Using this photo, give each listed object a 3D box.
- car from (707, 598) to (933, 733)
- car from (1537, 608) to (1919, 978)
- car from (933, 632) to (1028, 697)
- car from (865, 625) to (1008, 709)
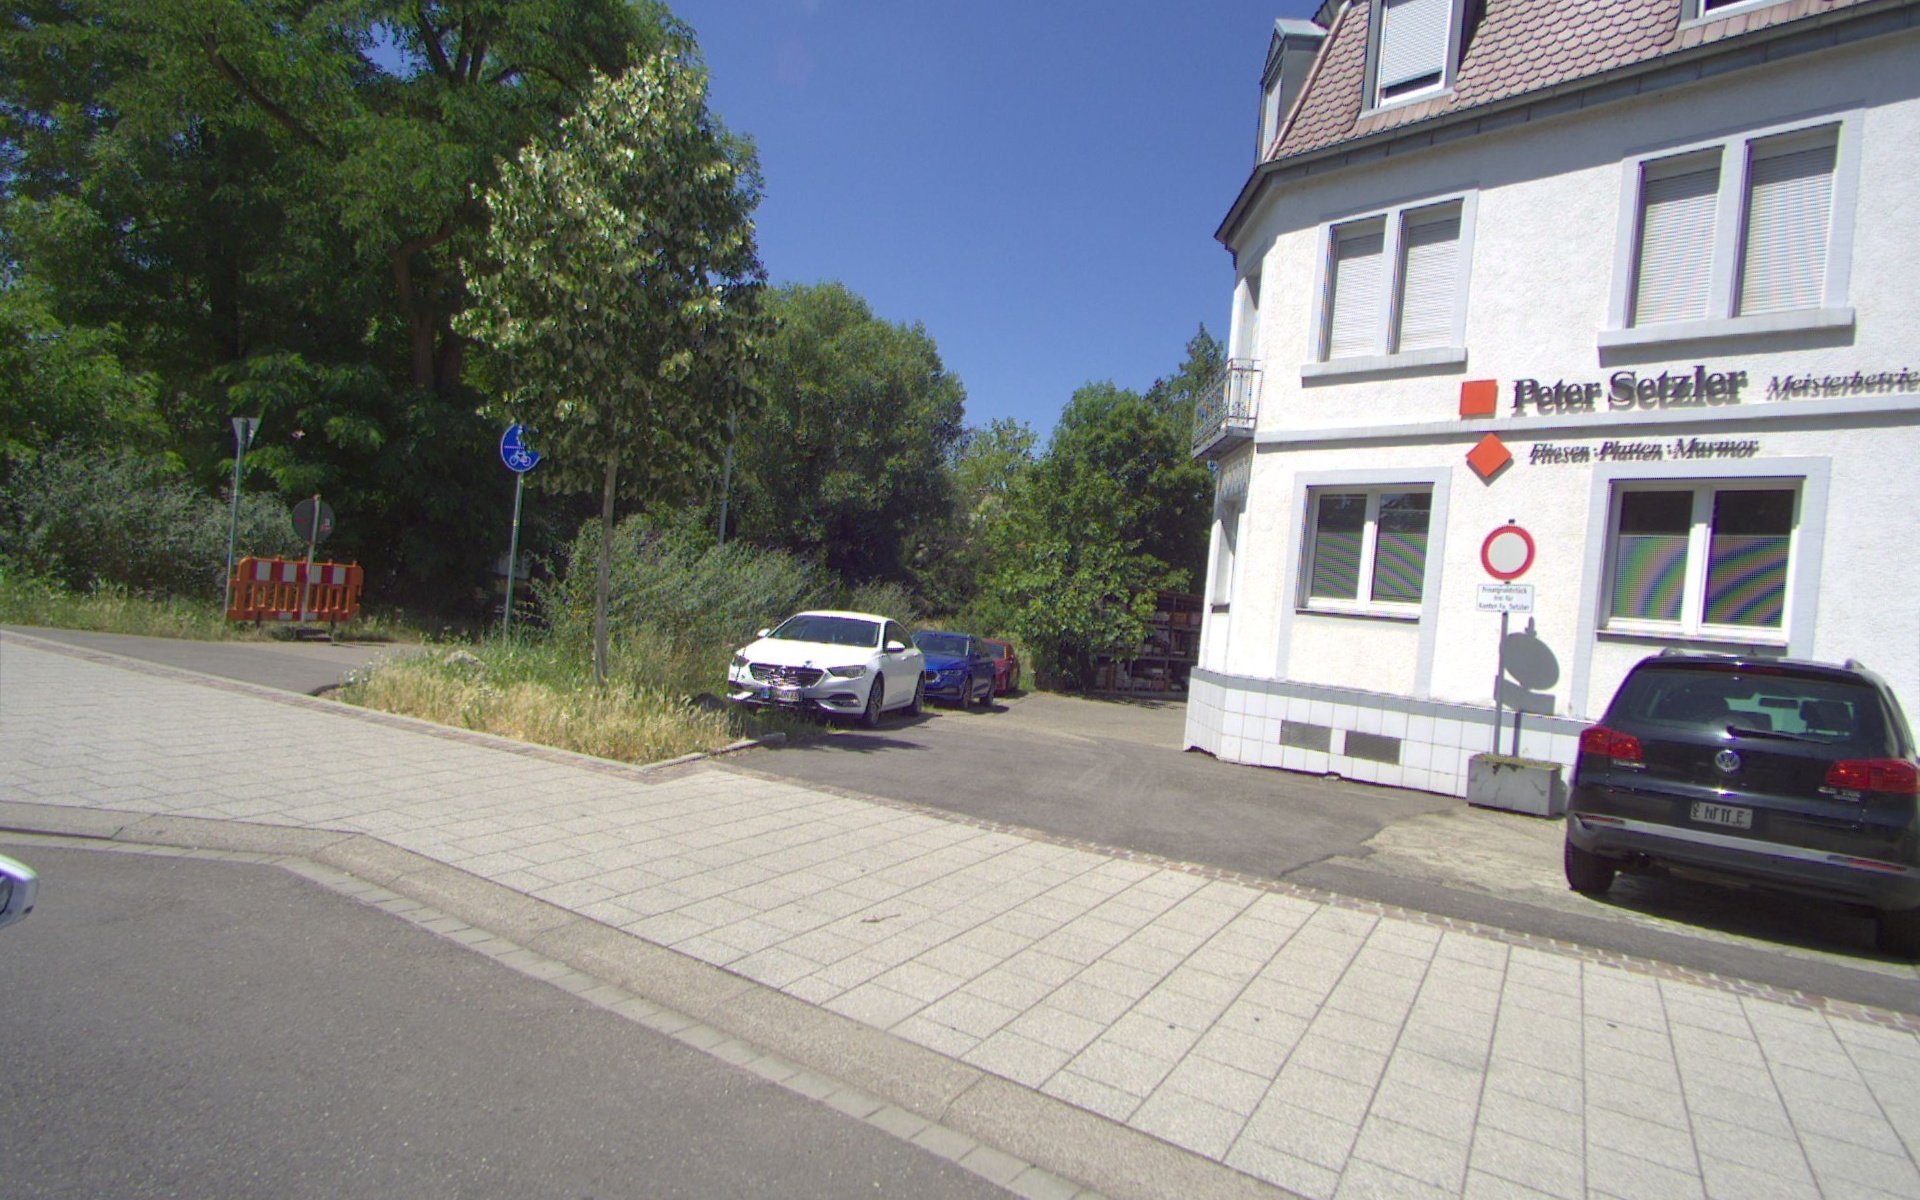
[{"bbox_3d":[-1.689,0.854,13.713,1.825,1.366,4.207,6,-2,9],"label":"car"},{"bbox_3d":[5.697,1.182,7.030,1.832,1.736,4.067,5,-2,44],"label":"car"},{"bbox_3d":[0.646,1.718,27.219,1.867,1.452,4.381,4,-2,9],"label":"car"},{"bbox_3d":[-0.345,1.311,20.148,1.825,1.366,4.207,4,-2,13],"label":"car"}]
